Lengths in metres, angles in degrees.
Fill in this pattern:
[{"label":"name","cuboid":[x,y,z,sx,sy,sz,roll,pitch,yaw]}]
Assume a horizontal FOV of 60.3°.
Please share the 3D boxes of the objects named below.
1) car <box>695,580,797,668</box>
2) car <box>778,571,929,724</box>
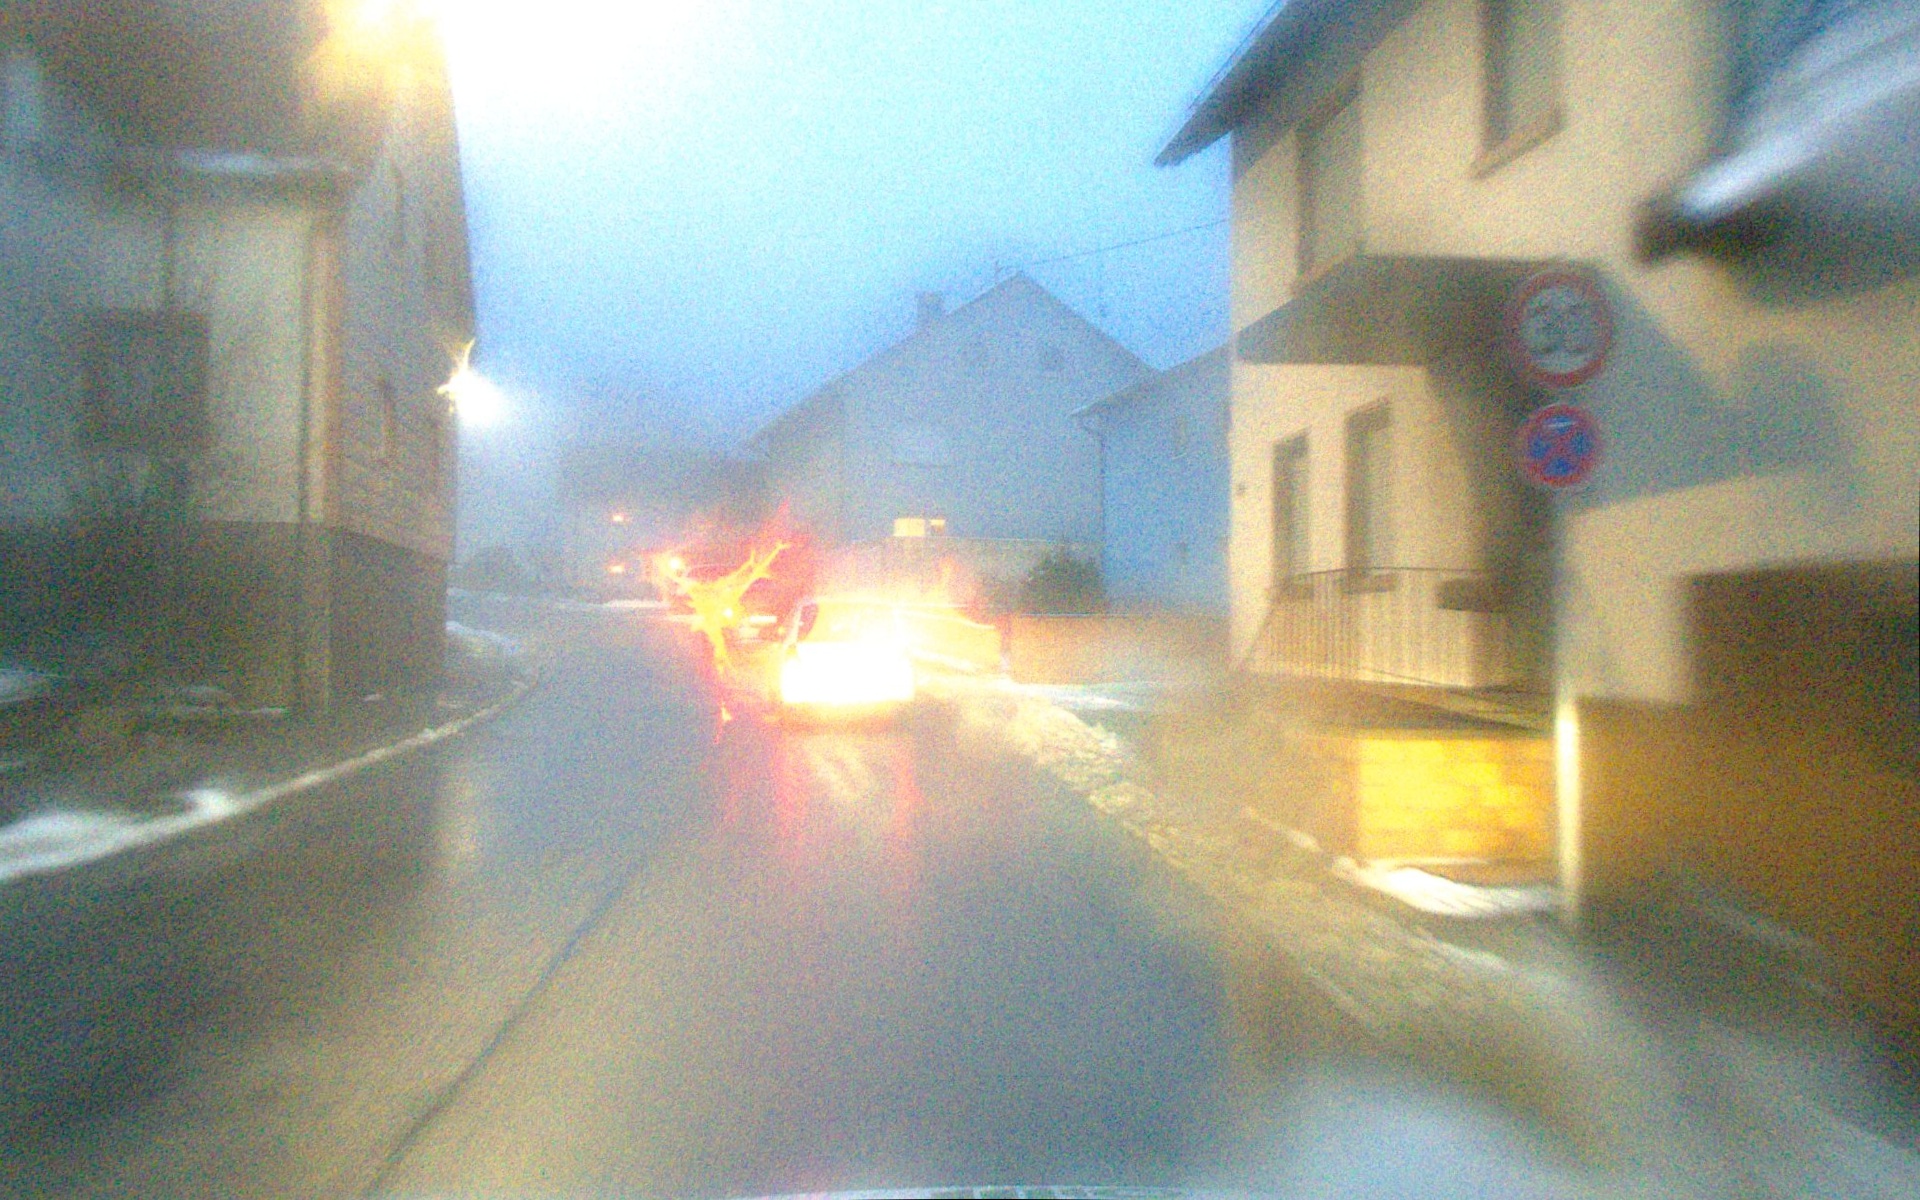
[{"label":"car","cuboid":[-4.343,0.498,33.131,1.617,1.624,3.686,2,-2,-13]},{"label":"car","cuboid":[-1.244,0.561,19.842,1.612,1.624,3.697,1,-2,-3]}]
